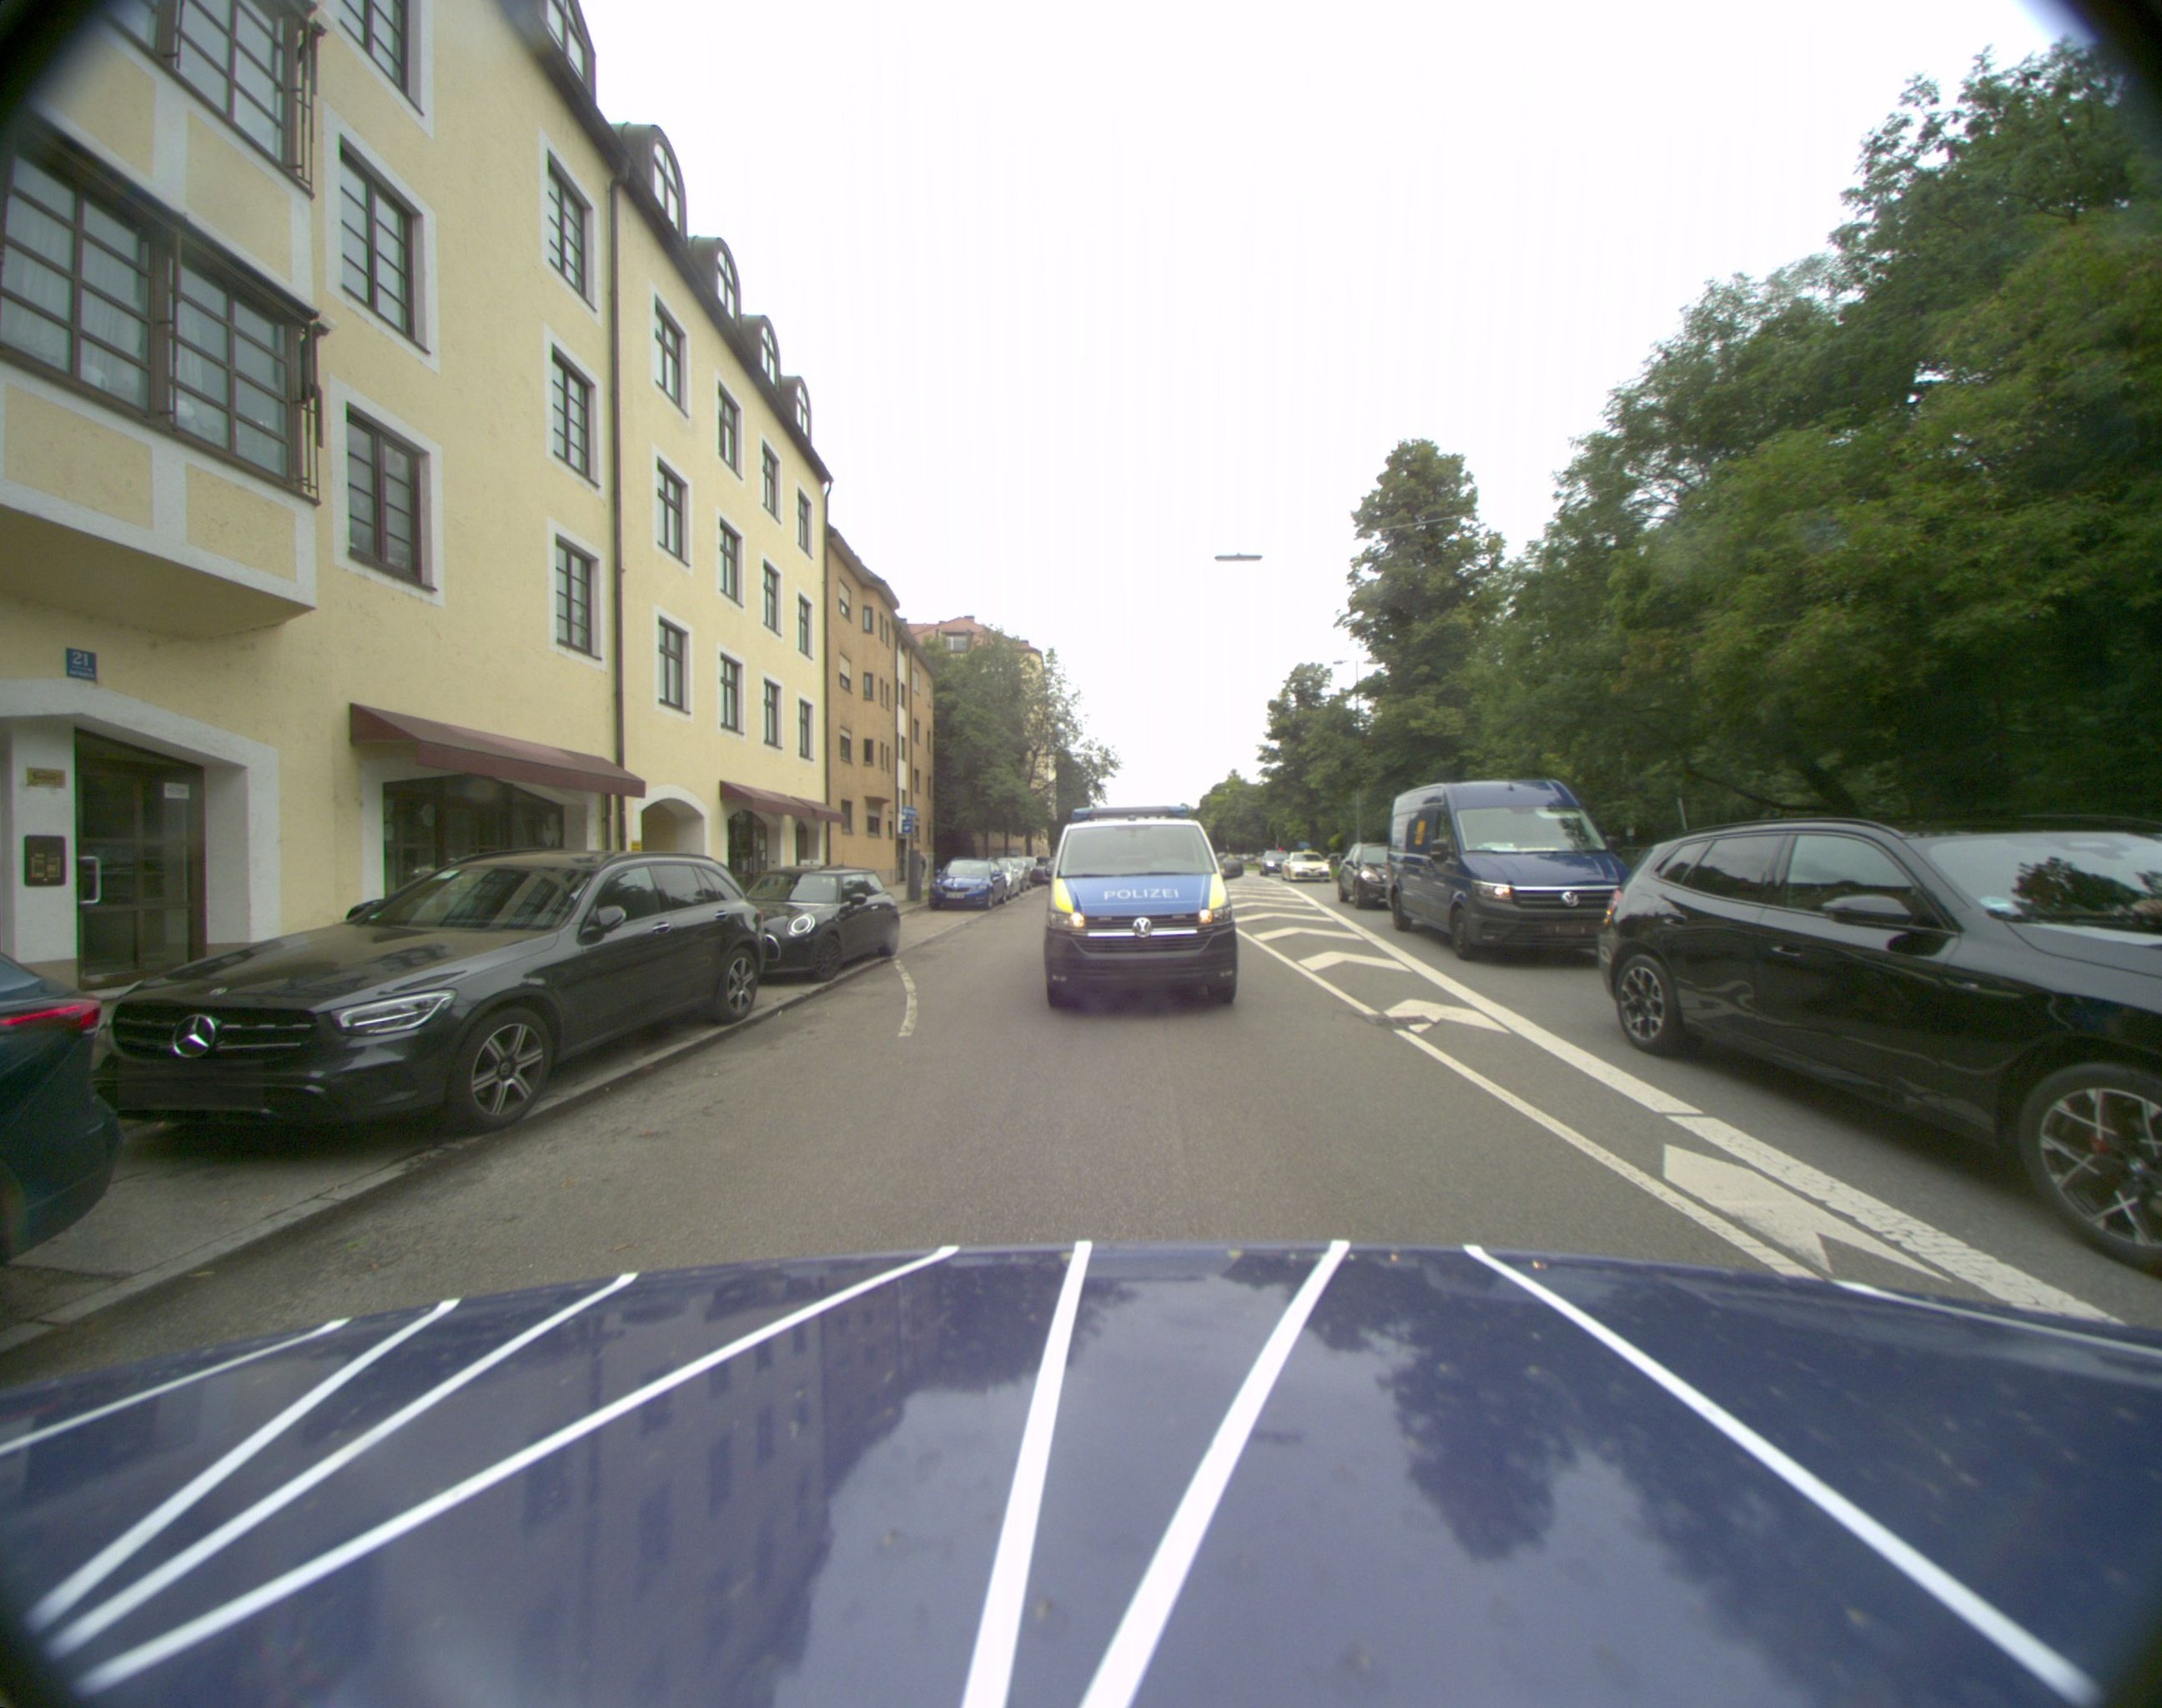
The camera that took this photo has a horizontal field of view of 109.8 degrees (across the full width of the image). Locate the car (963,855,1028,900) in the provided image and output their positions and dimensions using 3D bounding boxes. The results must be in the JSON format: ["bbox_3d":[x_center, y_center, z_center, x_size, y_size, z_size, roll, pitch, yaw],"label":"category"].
[{"bbox_3d":[-3.067,0.816,28.070,1.694,1.487,4.434,1,0,2],"label":"car"}]

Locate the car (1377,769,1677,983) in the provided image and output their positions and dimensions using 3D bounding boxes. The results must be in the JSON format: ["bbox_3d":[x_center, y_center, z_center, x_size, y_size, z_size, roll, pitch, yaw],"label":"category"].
[{"bbox_3d":[6.294,0.206,11.768,2.187,2.450,5.855,0,1,11],"label":"car"}]

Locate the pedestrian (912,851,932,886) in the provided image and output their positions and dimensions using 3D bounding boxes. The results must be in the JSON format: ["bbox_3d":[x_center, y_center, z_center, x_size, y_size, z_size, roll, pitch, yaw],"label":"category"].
[{"bbox_3d":[-7.454,0.661,35.661,0.672,1.614,0.980,-1,2,3],"label":"pedestrian"}]

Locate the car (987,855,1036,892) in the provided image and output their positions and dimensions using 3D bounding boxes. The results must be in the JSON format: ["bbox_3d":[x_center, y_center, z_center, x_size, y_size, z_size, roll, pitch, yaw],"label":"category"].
[{"bbox_3d":[-2.980,0.804,33.448,1.631,1.487,3.787,1,0,3],"label":"car"}]

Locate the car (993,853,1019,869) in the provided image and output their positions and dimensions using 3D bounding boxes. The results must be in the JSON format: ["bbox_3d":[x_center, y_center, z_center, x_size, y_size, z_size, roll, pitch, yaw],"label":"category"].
[{"bbox_3d":[-6.858,0.624,69.609,2.053,1.458,4.244,0,0,-2],"label":"car"}]

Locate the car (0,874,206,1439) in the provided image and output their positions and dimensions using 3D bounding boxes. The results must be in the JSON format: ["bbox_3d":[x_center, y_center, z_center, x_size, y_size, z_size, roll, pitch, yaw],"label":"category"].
[{"bbox_3d":[-4.144,0.915,0.544,1.823,1.669,4.510,1,0,0],"label":"car"}]

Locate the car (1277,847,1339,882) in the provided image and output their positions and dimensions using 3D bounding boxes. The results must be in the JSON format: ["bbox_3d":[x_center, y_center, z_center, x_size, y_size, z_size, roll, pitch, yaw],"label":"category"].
[{"bbox_3d":[10.838,0.462,36.550,1.991,1.556,4.656,0,0,6],"label":"car"}]

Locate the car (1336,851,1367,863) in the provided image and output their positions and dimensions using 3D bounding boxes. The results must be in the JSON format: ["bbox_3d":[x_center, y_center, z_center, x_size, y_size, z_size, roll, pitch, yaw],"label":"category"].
[{"bbox_3d":[33.760,0.354,94.894,1.999,1.438,4.524,0,0,-3],"label":"car"}]

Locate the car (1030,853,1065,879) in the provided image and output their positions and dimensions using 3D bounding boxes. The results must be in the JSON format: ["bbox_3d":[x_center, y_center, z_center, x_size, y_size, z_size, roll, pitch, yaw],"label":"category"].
[{"bbox_3d":[-2.020,0.702,47.092,1.796,1.488,4.376,2,0,2],"label":"car"}]

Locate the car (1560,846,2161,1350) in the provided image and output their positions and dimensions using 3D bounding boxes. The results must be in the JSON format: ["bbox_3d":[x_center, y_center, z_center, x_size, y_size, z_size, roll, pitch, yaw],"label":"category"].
[{"bbox_3d":[4.673,0.780,3.910,1.917,1.577,4.832,-1,1,8],"label":"car"}]

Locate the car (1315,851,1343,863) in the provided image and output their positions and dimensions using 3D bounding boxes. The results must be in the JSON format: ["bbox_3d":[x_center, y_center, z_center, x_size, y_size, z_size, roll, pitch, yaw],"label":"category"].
[{"bbox_3d":[33.495,0.419,102.696,1.999,1.526,4.705,0,0,-3],"label":"car"}]

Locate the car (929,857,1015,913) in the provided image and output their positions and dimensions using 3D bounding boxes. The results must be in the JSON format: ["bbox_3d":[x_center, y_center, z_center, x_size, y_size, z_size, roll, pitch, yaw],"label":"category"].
[{"bbox_3d":[-3.172,0.863,23.066,1.760,1.487,4.488,1,0,3],"label":"car"}]

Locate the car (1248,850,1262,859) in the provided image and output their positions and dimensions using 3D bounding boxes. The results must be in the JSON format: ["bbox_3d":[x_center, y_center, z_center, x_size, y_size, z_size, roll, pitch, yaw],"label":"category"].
[{"bbox_3d":[33.157,0.104,144.752,1.866,1.736,4.000,-1,0,1],"label":"car"}]

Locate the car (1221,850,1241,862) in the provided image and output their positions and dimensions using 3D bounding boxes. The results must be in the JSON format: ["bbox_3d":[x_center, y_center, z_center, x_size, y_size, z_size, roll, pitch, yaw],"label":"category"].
[{"bbox_3d":[23.653,0.321,120.009,1.999,1.742,4.524,-2,0,-3],"label":"car"}]

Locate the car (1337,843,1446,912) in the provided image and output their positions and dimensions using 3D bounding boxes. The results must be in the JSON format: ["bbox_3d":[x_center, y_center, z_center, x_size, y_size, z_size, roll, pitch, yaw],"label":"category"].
[{"bbox_3d":[7.974,0.540,19.916,1.990,1.618,4.277,0,0,13],"label":"car"}]

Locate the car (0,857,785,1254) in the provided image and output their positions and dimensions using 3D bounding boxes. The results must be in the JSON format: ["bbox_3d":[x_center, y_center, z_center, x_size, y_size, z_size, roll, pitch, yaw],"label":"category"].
[{"bbox_3d":[-4.102,0.884,5.676,1.760,1.669,4.707,1,0,2],"label":"car"}]

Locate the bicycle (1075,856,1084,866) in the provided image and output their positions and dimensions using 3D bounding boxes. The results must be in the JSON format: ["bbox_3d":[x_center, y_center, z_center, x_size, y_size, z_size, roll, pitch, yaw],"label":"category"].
[{"bbox_3d":[-0.140,0.718,77.095,0.632,1.031,1.736,0,0,7],"label":"bicycle"}]

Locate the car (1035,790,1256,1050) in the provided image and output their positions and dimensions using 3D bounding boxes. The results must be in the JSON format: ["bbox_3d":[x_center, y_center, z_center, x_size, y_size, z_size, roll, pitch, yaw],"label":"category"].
[{"bbox_3d":[0.637,0.529,8.728,1.856,2.198,4.553,-1,1,2],"label":"car"}]

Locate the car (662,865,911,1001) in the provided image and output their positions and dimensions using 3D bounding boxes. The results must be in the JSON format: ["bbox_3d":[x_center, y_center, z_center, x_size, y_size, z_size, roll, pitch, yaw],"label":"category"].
[{"bbox_3d":[-3.863,0.941,10.738,1.760,1.487,3.824,1,0,5],"label":"car"}]

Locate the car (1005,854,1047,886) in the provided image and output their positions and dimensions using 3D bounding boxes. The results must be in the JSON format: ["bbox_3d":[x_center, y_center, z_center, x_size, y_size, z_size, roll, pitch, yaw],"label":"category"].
[{"bbox_3d":[-2.713,0.783,38.099,1.631,1.487,3.821,1,0,3],"label":"car"}]

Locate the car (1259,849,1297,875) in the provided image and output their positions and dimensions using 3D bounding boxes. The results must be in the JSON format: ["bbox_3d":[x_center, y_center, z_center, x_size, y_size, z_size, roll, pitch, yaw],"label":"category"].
[{"bbox_3d":[12.630,0.495,48.922,1.990,1.556,4.276,0,0,10],"label":"car"}]
